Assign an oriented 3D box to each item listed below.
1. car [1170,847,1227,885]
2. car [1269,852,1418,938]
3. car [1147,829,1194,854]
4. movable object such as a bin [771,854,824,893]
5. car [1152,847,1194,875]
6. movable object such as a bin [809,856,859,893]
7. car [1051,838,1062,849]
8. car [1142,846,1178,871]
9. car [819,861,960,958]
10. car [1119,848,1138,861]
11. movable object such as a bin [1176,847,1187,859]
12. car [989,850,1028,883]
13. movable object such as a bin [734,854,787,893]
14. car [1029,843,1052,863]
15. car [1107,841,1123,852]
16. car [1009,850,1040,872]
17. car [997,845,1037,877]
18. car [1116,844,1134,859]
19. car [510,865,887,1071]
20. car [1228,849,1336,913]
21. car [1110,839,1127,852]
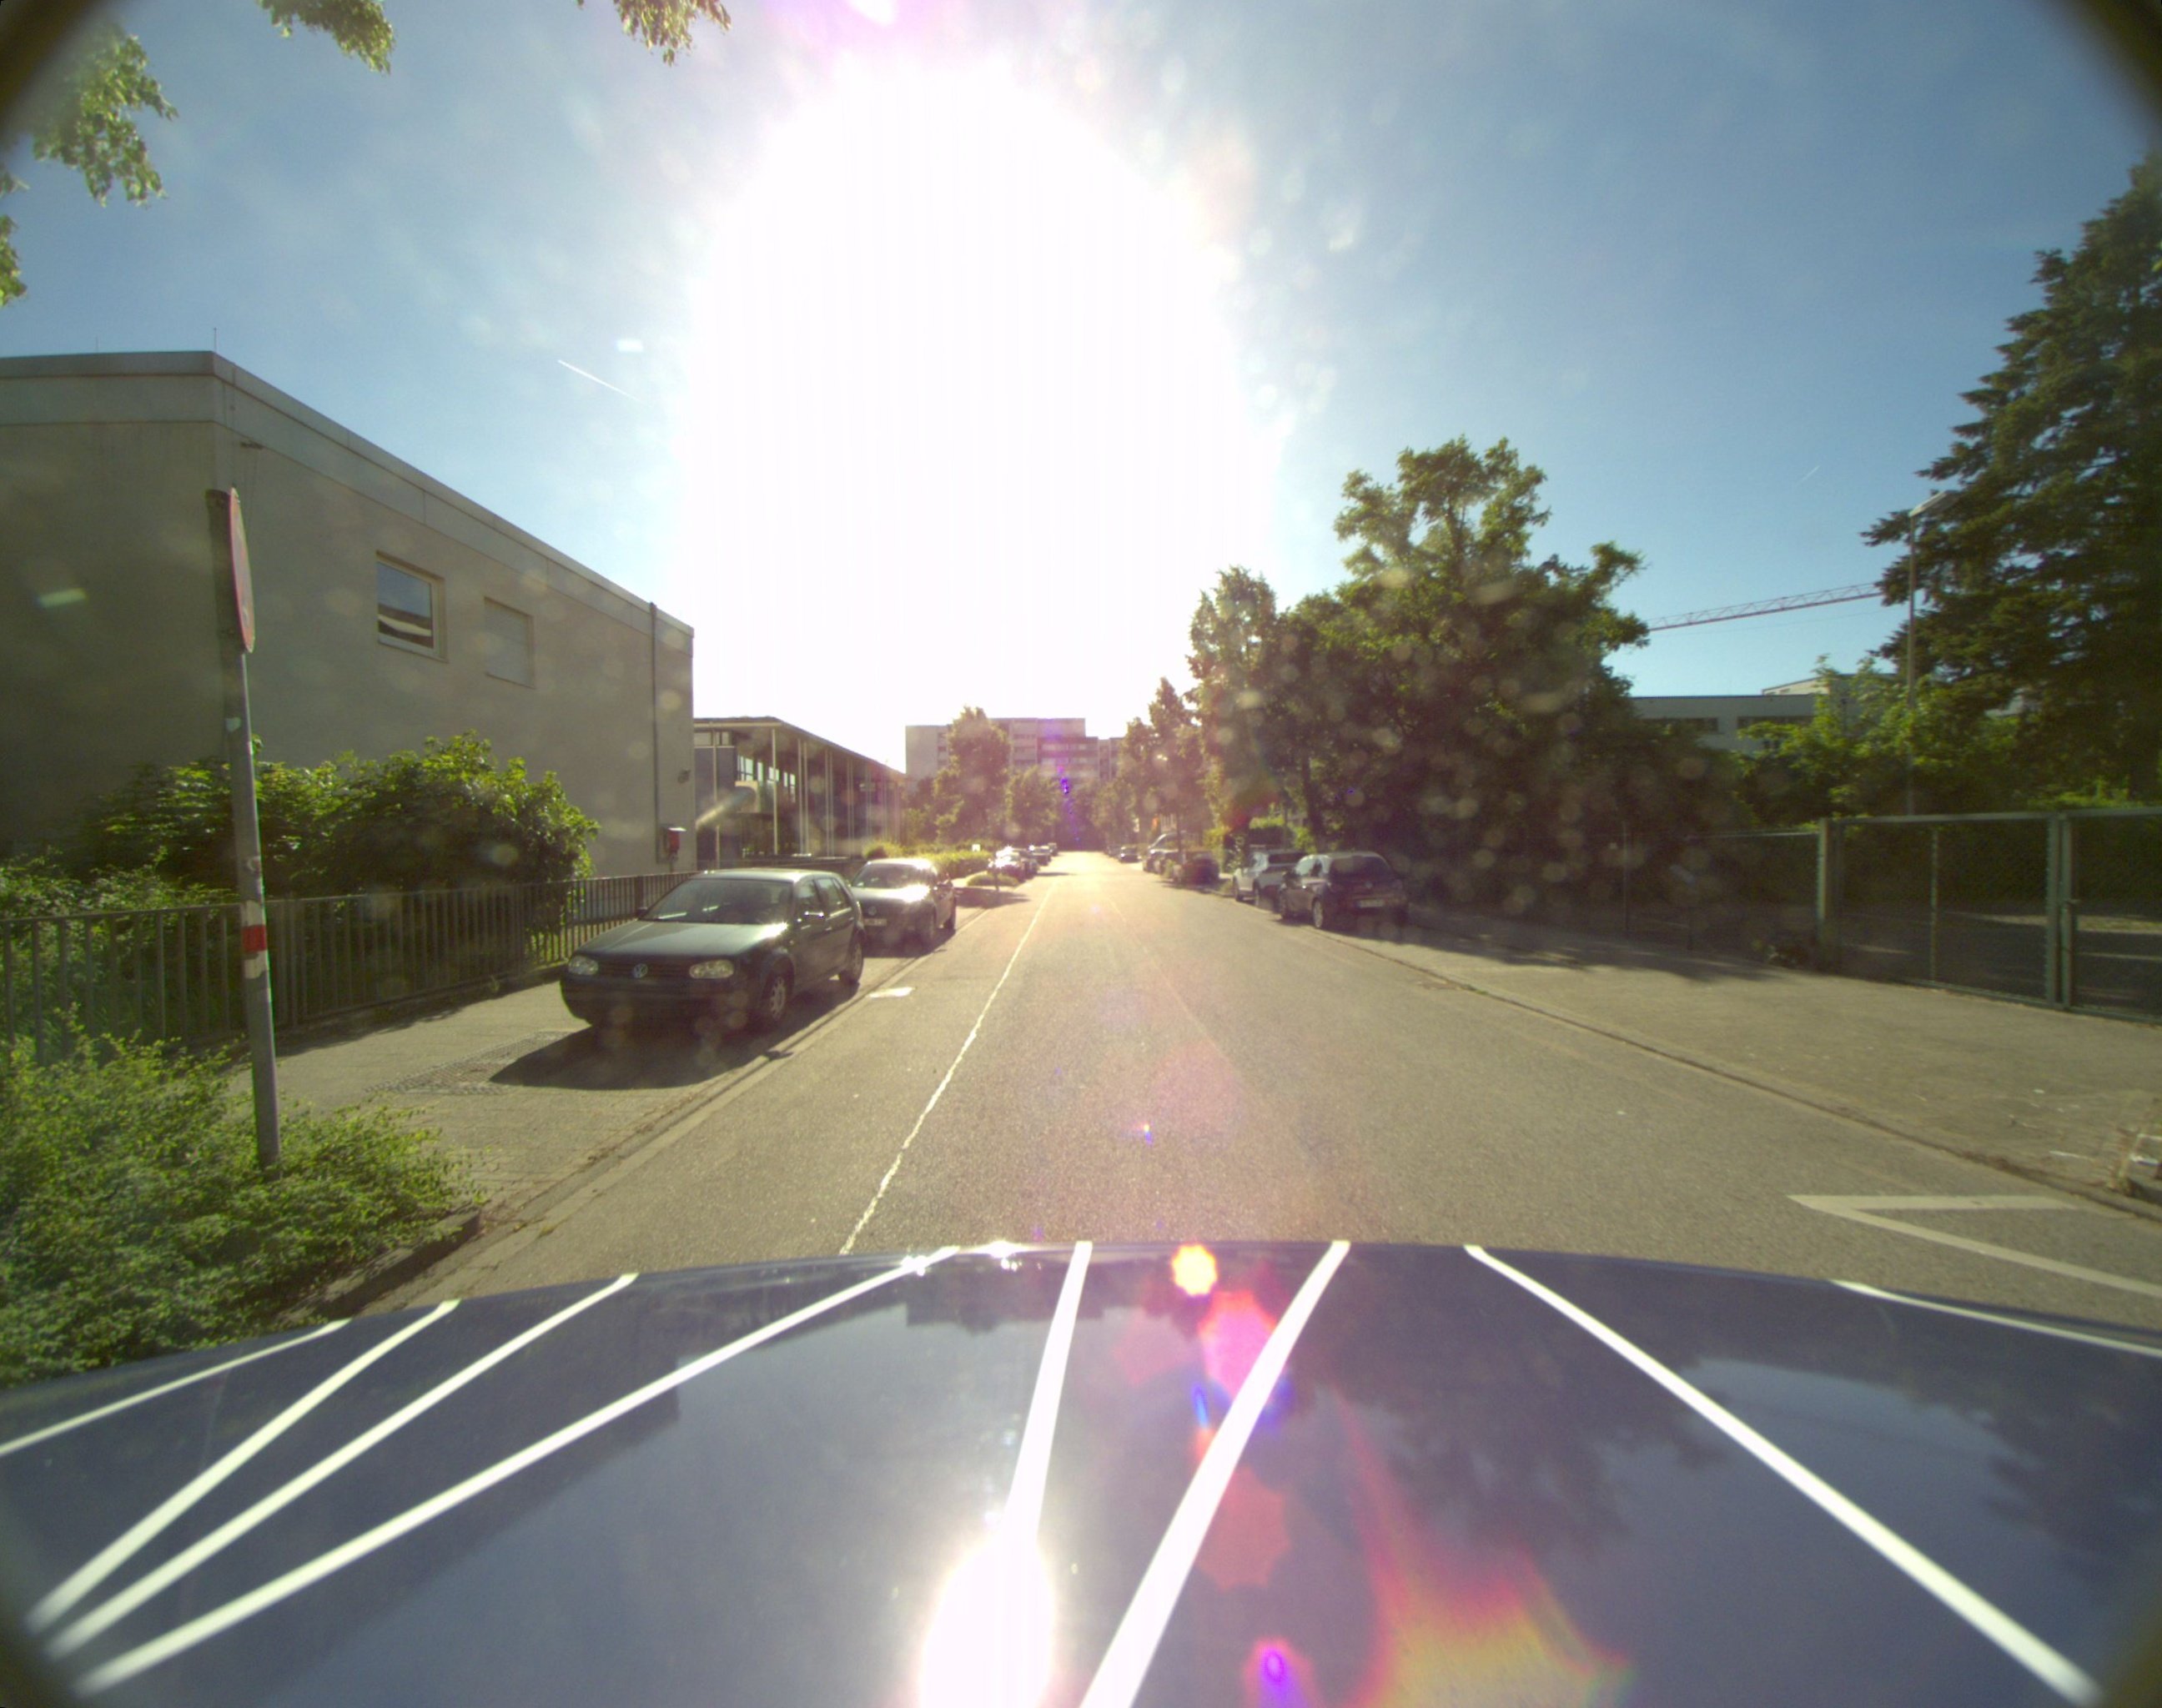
[{"bbox_3d":[5.255,0.492,34.477,1.845,1.465,4.358,-3,1,0],"label":"car"},{"bbox_3d":[5.316,0.758,15.892,1.722,1.465,3.545,-3,1,-2],"label":"car"},{"bbox_3d":[10.612,-1.489,90.185,5.154,2.886,2.013,-1,2,-4],"label":"car"},{"bbox_3d":[-10.959,0.742,29.452,1.370,1.440,1.631,-1,1,0],"label":"movable object such as a bin"},{"bbox_3d":[5.270,0.365,43.884,1.845,1.465,4.026,-3,1,0],"label":"car"},{"bbox_3d":[-9.527,0.771,29.408,1.370,1.350,1.631,-1,1,0],"label":"movable object such as a bin"},{"bbox_3d":[-3.719,-1.561,115.644,1.645,1.459,3.701,2,2,-1],"label":"car"},{"bbox_3d":[5.139,0.246,50.111,1.845,1.465,4.098,-3,1,0],"label":"car"},{"bbox_3d":[-3.467,0.936,14.507,1.788,1.507,3.999,0,1,-2],"label":"car"},{"bbox_3d":[4.626,0.023,73.656,1.631,1.240,3.562,1,1,0],"label":"car"},{"bbox_3d":[9.395,-0.092,71.291,0.862,1.032,0.677,-4,2,-3],"label":"movable object such as a bin"},{"bbox_3d":[-3.619,0.593,38.430,1.680,1.495,3.845,-1,1,-1],"label":"car"},{"bbox_3d":[-12.376,0.728,29.396,1.333,1.440,1.631,-1,1,0],"label":"movable object such as a bin"},{"bbox_3d":[-3.685,-0.105,69.323,1.823,1.638,4.487,2,1,-1],"label":"car"},{"bbox_3d":[4.820,-1.092,107.983,1.796,1.509,3.888,-2,1,-3],"label":"car"},{"bbox_3d":[-3.769,0.431,51.178,1.968,1.312,4.773,1,1,-4],"label":"car"},{"bbox_3d":[-3.674,0.361,44.029,1.905,1.673,4.410,1,1,0],"label":"car"},{"bbox_3d":[4.567,-0.231,79.419,1.631,1.515,3.561,-1,1,-1],"label":"car"},{"bbox_3d":[-3.573,0.936,8.194,1.751,1.414,4.423,-1,1,0],"label":"car"},{"bbox_3d":[5.439,0.670,21.100,1.845,1.465,4.001,-3,1,0],"label":"car"},{"bbox_3d":[4.859,-1.135,99.202,1.796,1.590,3.888,-2,1,-3],"label":"car"}]
